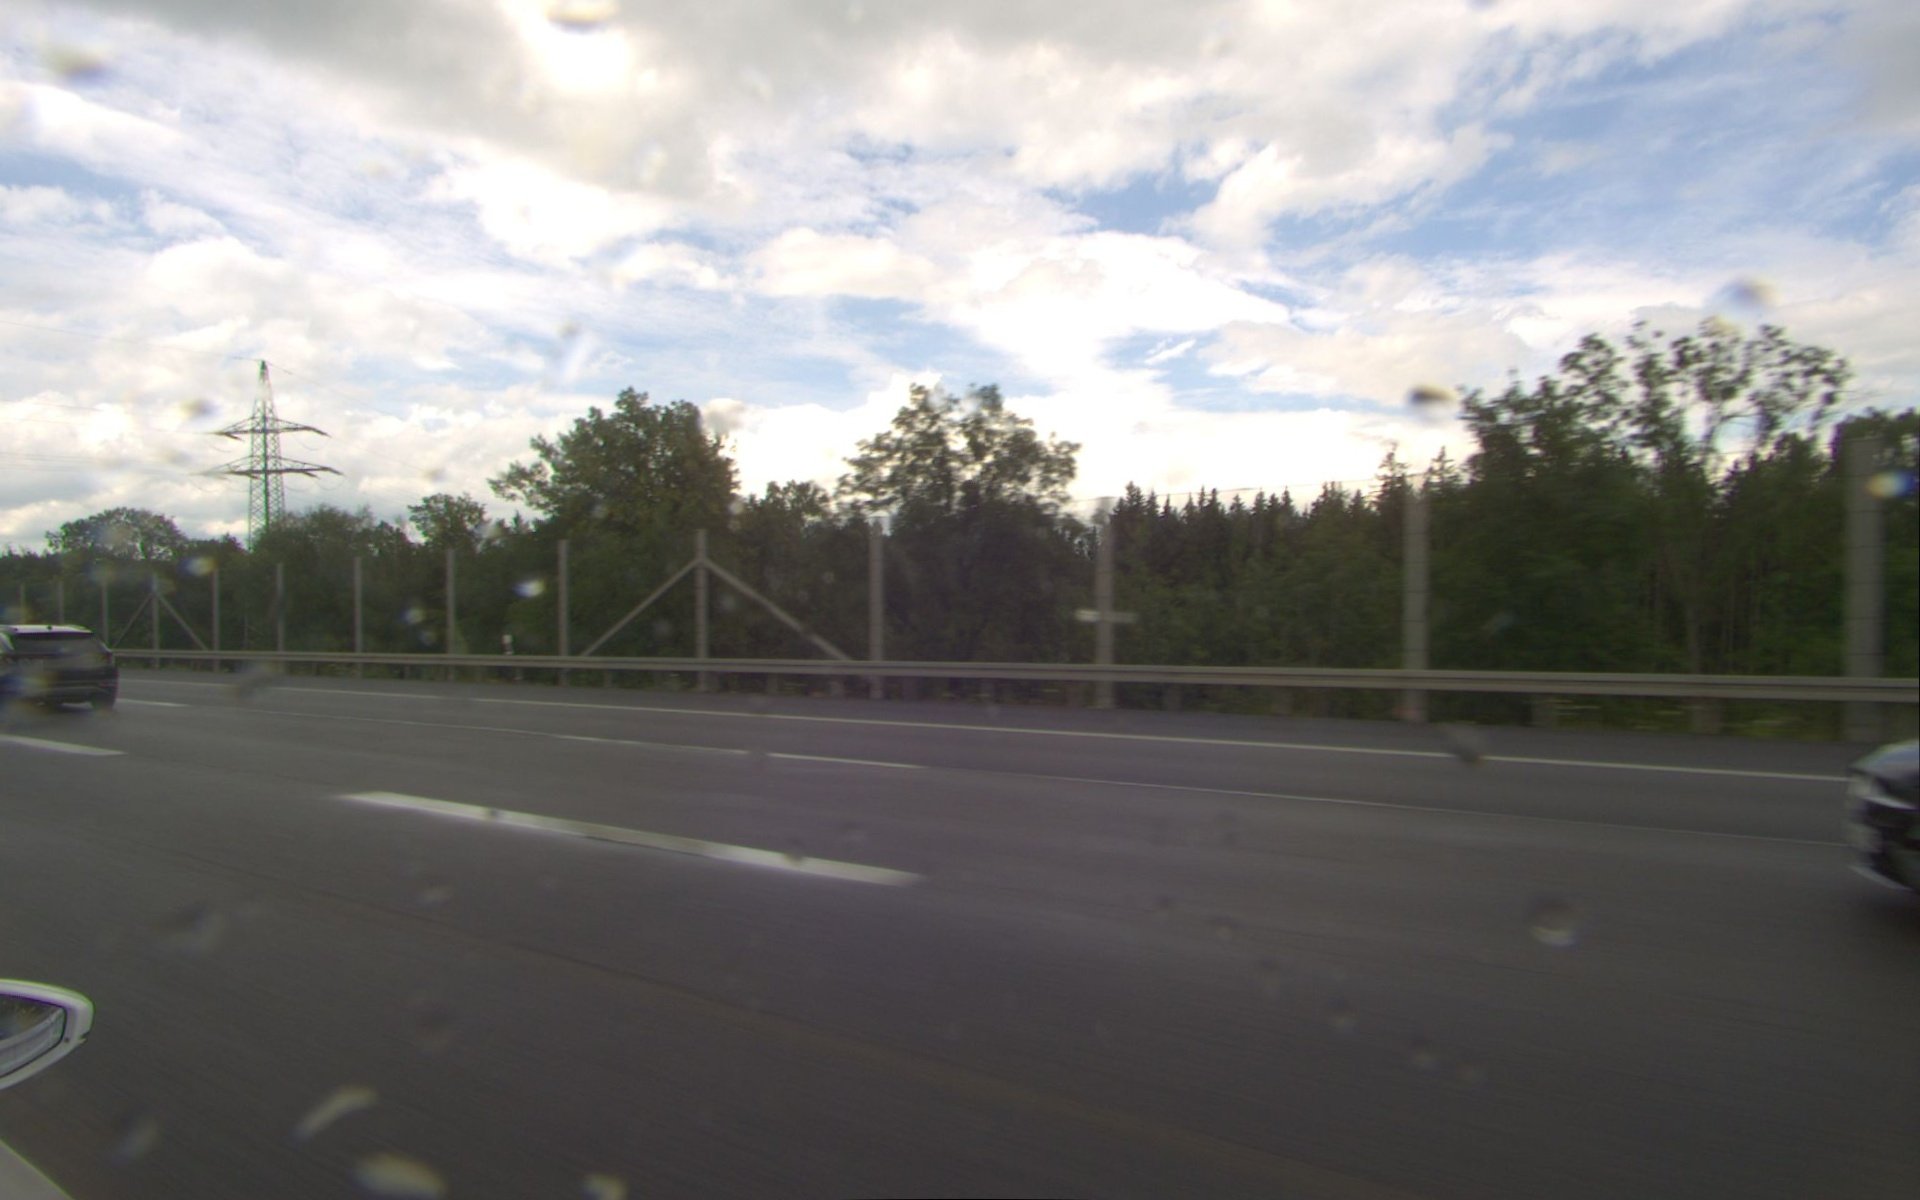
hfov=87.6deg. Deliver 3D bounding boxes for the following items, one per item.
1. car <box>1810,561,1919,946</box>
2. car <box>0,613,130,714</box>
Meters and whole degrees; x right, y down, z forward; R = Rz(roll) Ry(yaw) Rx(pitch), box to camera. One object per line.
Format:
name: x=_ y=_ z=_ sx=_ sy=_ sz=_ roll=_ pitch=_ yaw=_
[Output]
car: x=6.706 y=0.659 z=3.810 sx=4.992 sy=1.626 sz=2.101 roll=0 pitch=-1 yaw=32
car: x=-18.125 y=1.121 z=19.144 sx=4.935 sy=1.721 sz=2.042 roll=0 pitch=-2 yaw=33
